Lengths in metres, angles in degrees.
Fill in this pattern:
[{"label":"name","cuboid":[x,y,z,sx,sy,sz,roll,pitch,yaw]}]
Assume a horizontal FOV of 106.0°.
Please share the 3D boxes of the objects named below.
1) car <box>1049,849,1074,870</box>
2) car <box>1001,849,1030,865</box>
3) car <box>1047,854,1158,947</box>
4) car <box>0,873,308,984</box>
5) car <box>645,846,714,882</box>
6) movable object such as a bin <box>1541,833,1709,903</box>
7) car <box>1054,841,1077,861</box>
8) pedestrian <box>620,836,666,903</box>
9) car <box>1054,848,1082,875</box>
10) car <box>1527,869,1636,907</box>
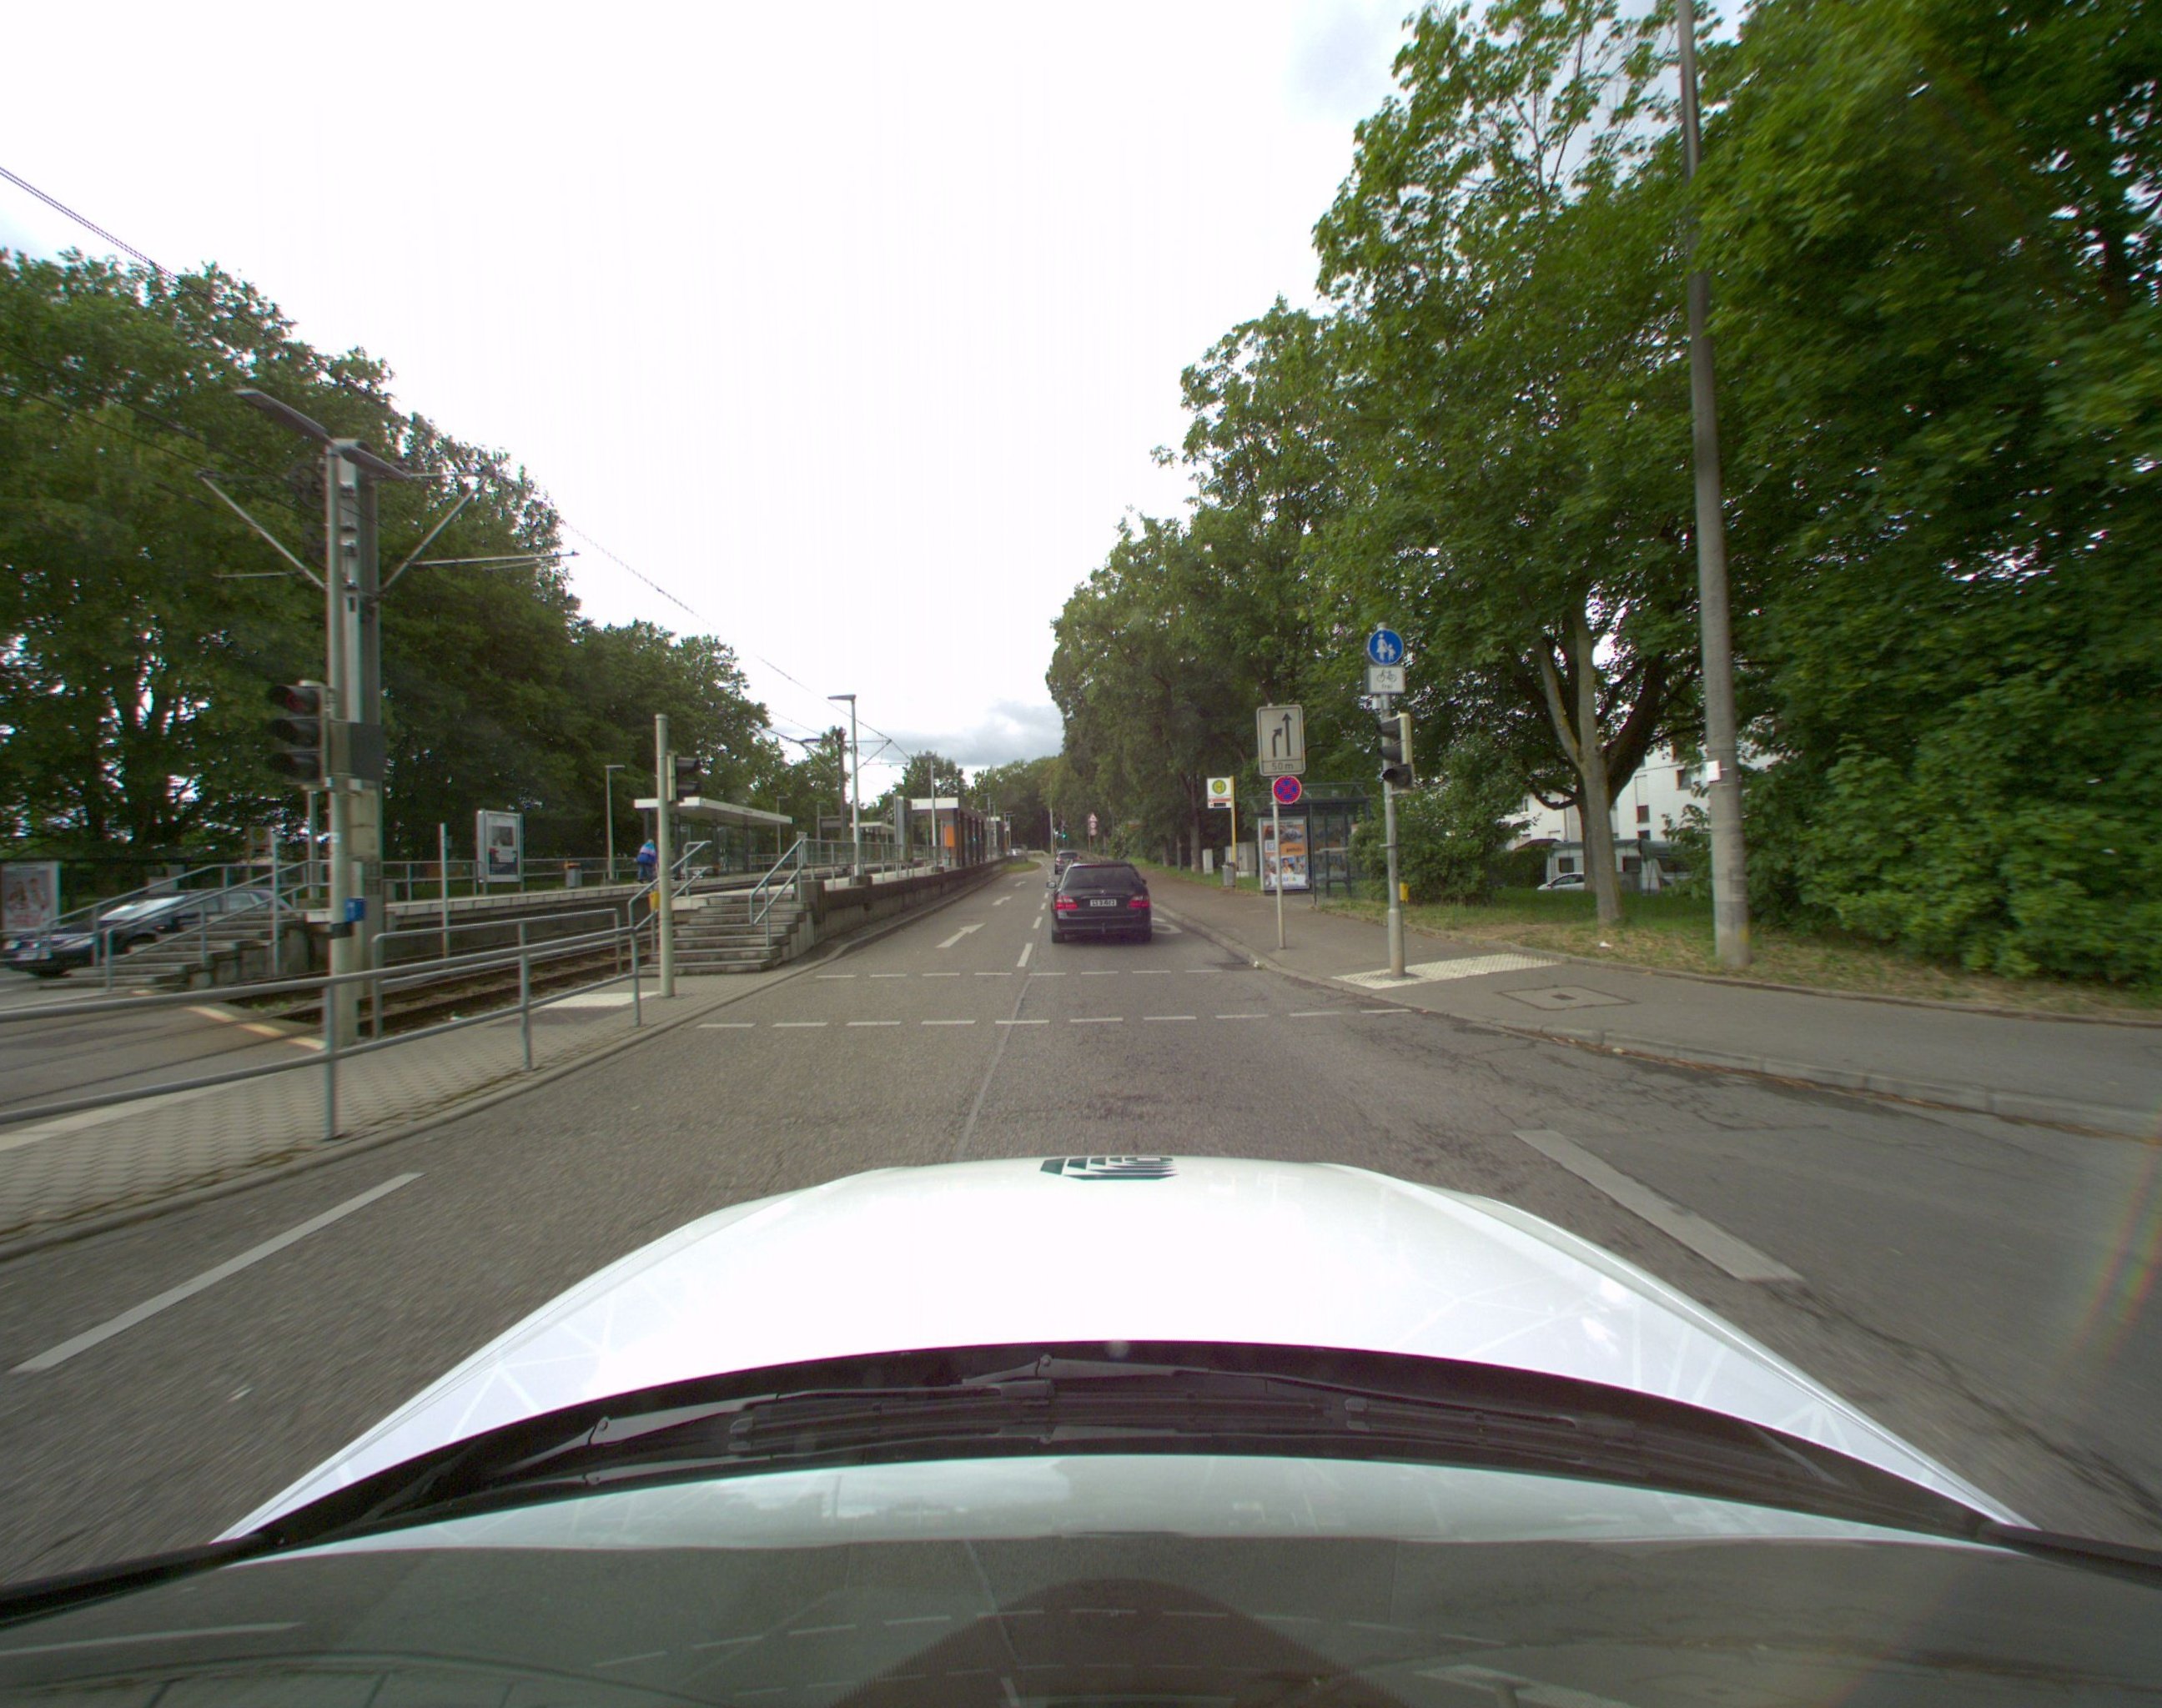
[{"label":"car","cuboid":[-1.547,0.466,64.386,1.779,1.648,3.993,0,-1,-5]},{"label":"car","cuboid":[-8.228,0.421,101.966,2.007,1.893,3.959,1,-1,-32]},{"label":"car","cuboid":[0.273,0.787,15.532,1.778,1.525,3.995,-1,0,-3]},{"label":"car","cuboid":[-17.809,1.311,15.899,1.693,1.860,3.996,0,-1,-3]},{"label":"car","cuboid":[-22.008,0.560,44.832,1.706,1.751,4.396,-3,-1,-2]},{"label":"movable object such as a bin","cuboid":[22.130,0.570,33.586,1.994,2.623,6.250,0,-1,-10]},{"label":"car","cuboid":[-1.547,-0.275,82.057,1.991,1.918,3.991,0,-1,-6]},{"label":"pedestrian","cuboid":[-14.741,0.507,27.435,0.967,2.186,0.976,-2,0,-1]},{"label":"car","cuboid":[-0.858,0.488,54.391,1.776,1.648,3.999,-2,0,0]},{"label":"car","cuboid":[19.986,1.318,32.700,1.479,1.386,3.824,0,-1,-12]}]
